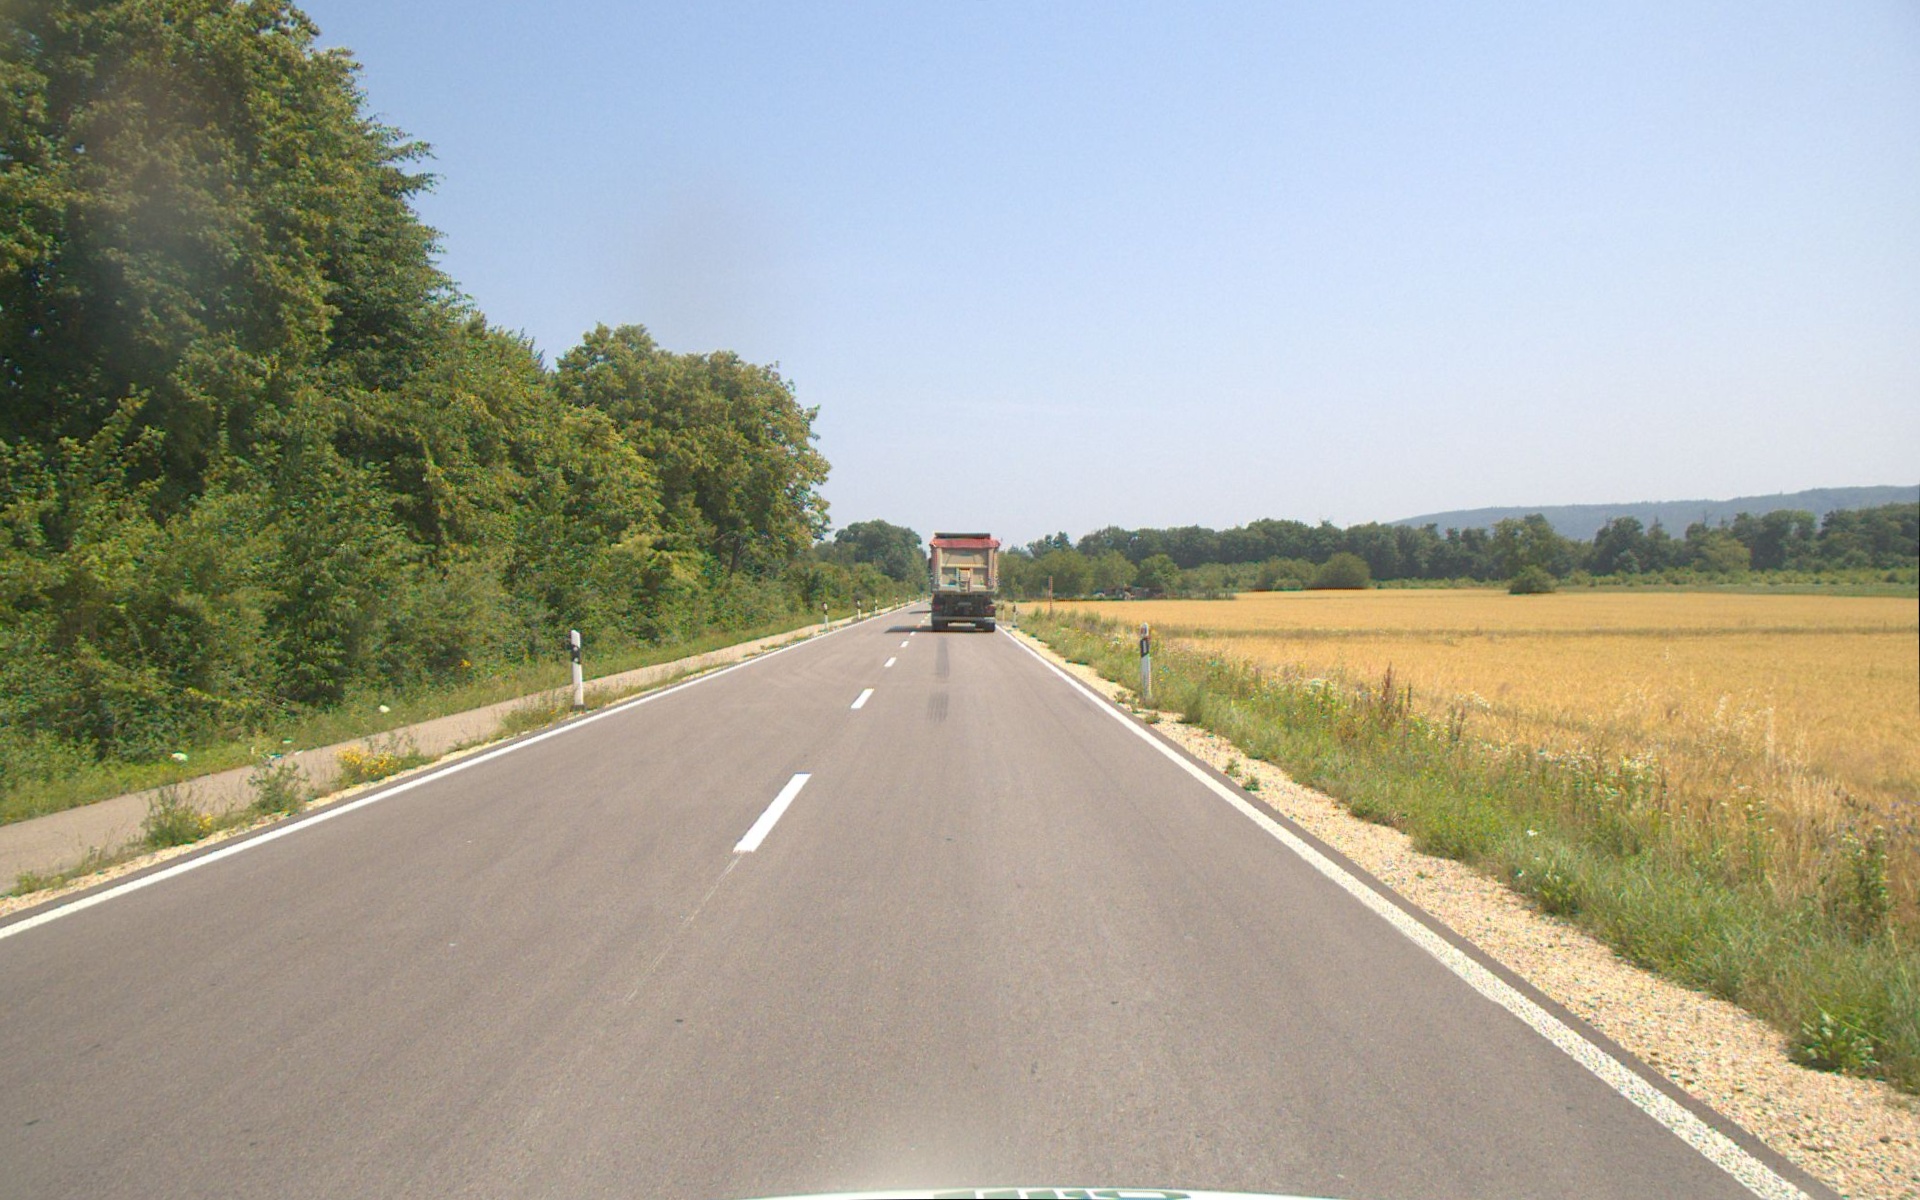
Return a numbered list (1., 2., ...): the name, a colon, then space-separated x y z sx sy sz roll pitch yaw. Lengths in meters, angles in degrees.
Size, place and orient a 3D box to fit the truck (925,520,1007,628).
1. truck: 0.171 -0.947 66.999 2.948 3.942 12.207 1 0 0
